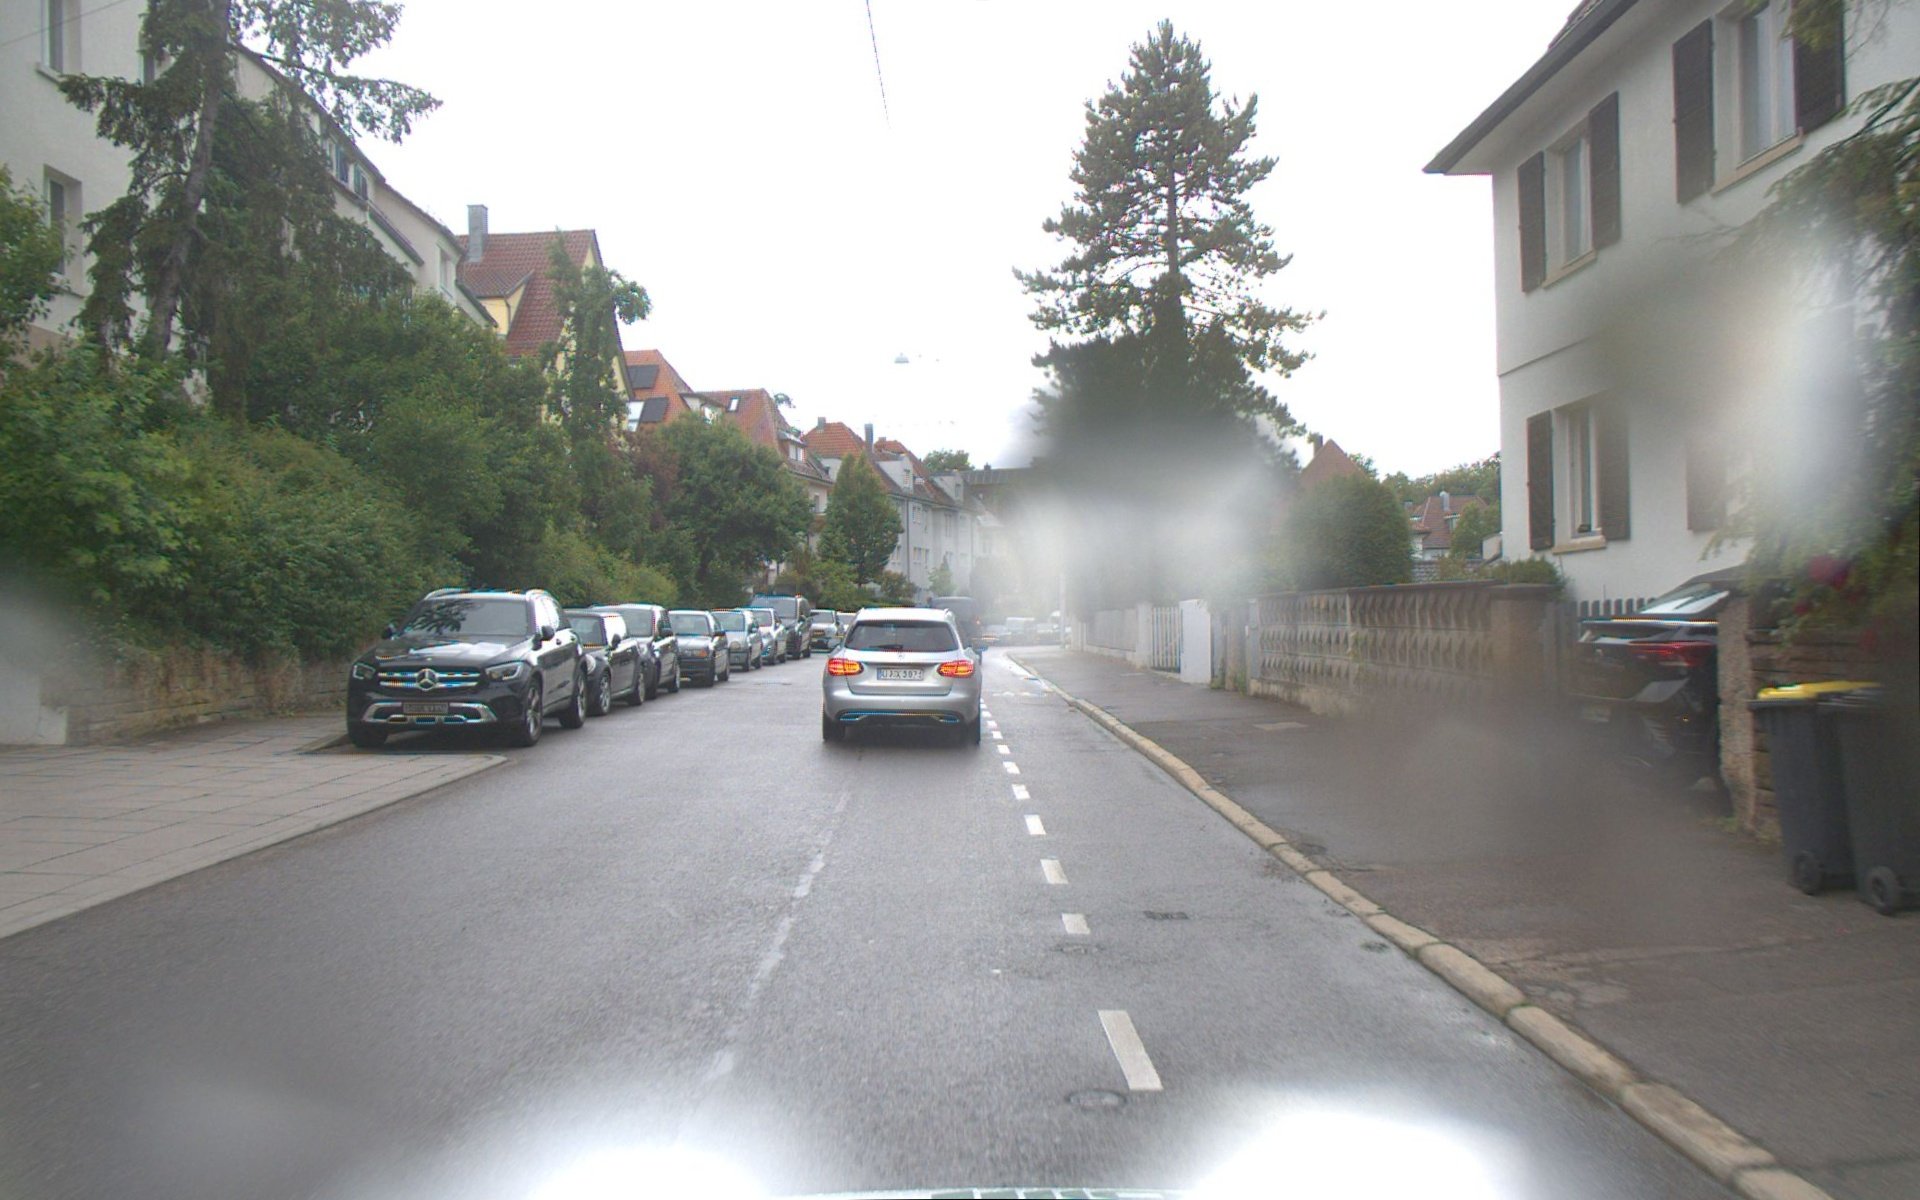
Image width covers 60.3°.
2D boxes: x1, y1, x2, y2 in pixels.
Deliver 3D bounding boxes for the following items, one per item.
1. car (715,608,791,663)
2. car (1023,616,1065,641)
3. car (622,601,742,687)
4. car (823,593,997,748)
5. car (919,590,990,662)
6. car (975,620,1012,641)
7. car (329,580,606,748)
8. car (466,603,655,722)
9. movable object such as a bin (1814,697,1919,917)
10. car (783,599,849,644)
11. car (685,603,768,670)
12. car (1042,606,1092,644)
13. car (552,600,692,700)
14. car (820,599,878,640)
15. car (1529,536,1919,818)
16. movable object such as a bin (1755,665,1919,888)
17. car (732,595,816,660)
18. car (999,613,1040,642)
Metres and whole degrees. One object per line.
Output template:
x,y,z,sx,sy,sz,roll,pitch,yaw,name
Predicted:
-5.732,0.959,46.117,1.659,1.472,3.813,0,-1,0,car
6.451,2.191,127.156,1.952,1.718,4.678,1,1,20,car
-5.441,0.816,32.858,1.720,1.472,4.415,0,1,-1,car
-0.617,0.735,19.099,1.780,1.584,3.997,1,0,-3,car
-0.103,0.739,46.898,1.804,1.937,4.001,0,-1,2,car
2.336,2.120,115.567,1.608,1.442,4.616,0,0,14,car
-5.313,0.638,18.475,1.855,1.651,4.377,0,0,-1,car
-5.620,0.826,23.712,1.855,1.472,3.813,0,1,-1,car
4.130,0.874,7.116,0.638,0.870,0.503,0,1,-3,movable object such as a bin
-5.603,0.825,64.805,1.952,1.608,4.762,2,0,2,car
-5.691,0.859,40.679,1.613,1.472,3.627,0,1,-1,car
8.756,1.986,134.545,2.341,2.820,6.534,1,1,19,car
-5.652,0.792,28.044,1.662,1.568,3.813,0,0,-1,car
-4.993,0.878,74.994,1.952,1.732,4.740,2,0,4,car
5.986,0.433,10.760,3.906,1.668,1.918,0,1,-1,car
4.086,0.808,7.731,0.484,0.972,0.503,0,1,-3,movable object such as a bin
-5.801,0.824,52.182,1.952,1.911,5.356,1,0,1,car
4.365,2.017,121.116,1.790,2.092,5.012,0,-1,16,car
